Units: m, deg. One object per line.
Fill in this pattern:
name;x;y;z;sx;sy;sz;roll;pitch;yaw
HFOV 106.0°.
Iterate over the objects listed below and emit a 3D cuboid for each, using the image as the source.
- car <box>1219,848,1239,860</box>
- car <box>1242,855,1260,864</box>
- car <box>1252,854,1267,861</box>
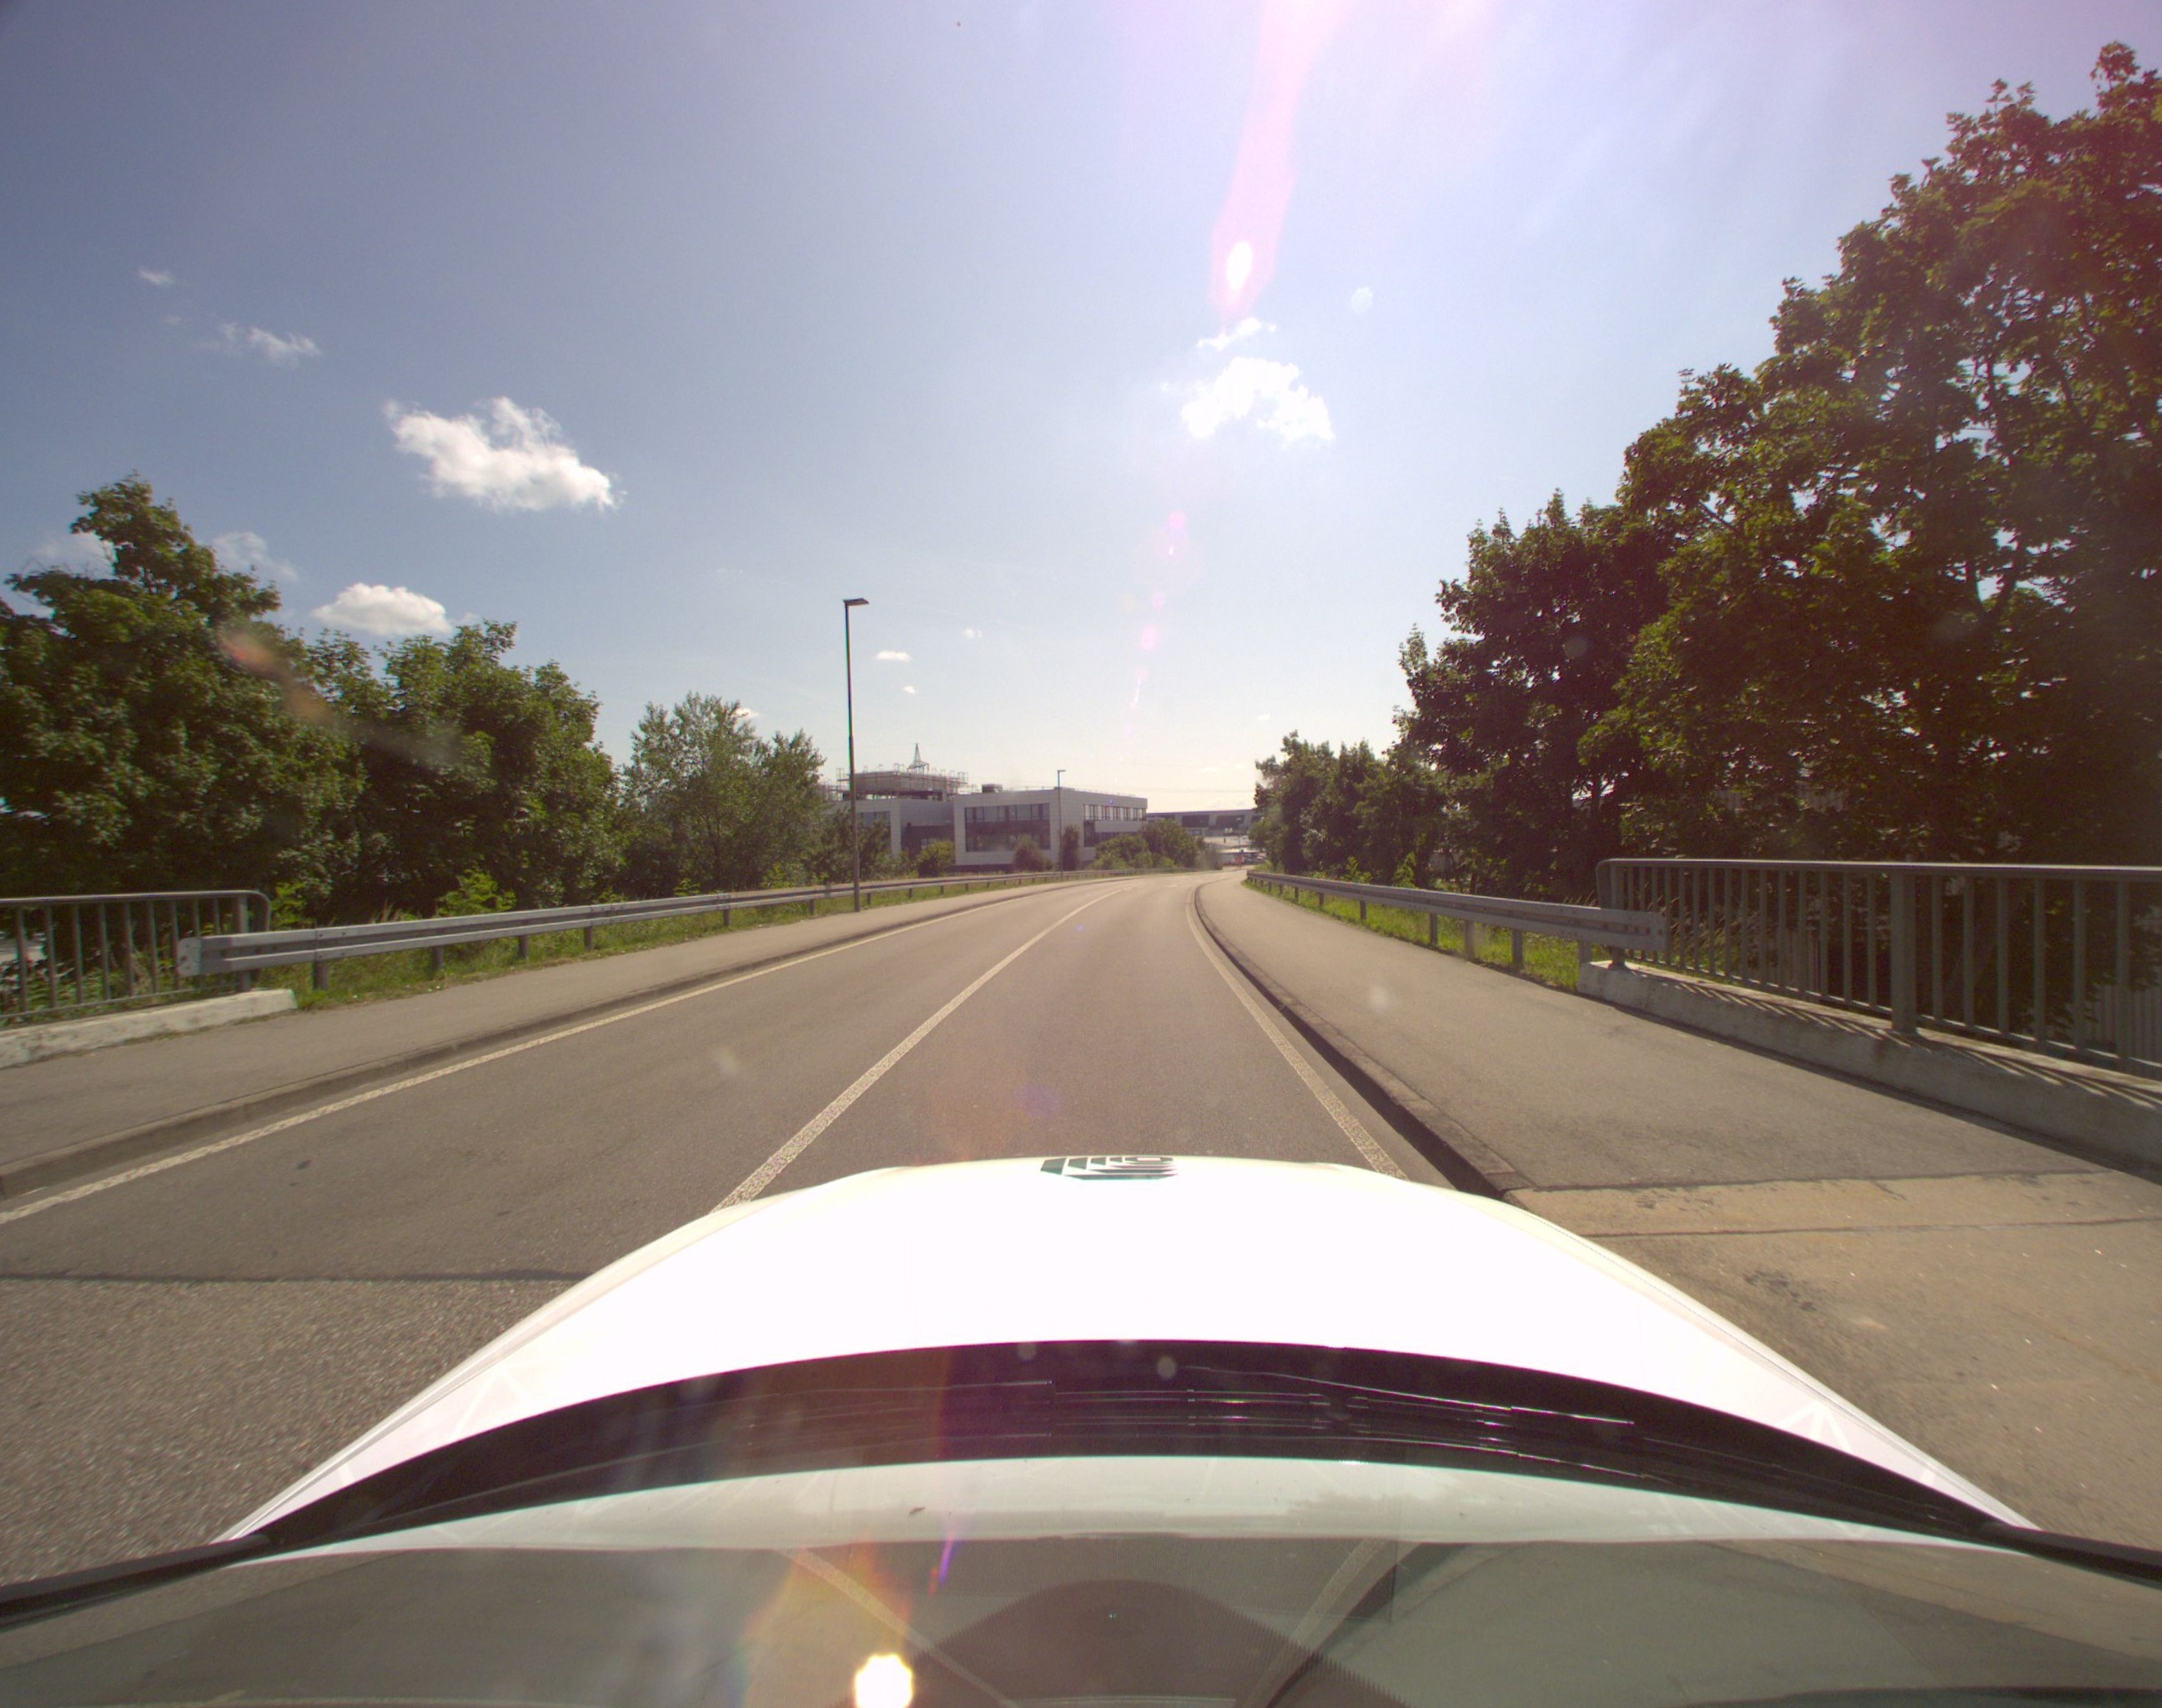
car;34.412;-0.016;189.570;2.010;2.608;4.314;0;0;-39
car;40.428;1.272;193.721;2.011;1.903;3.953;-3;2;-41
car;49.211;1.076;224.891;3.961;1.850;1.840;-1;0;11
